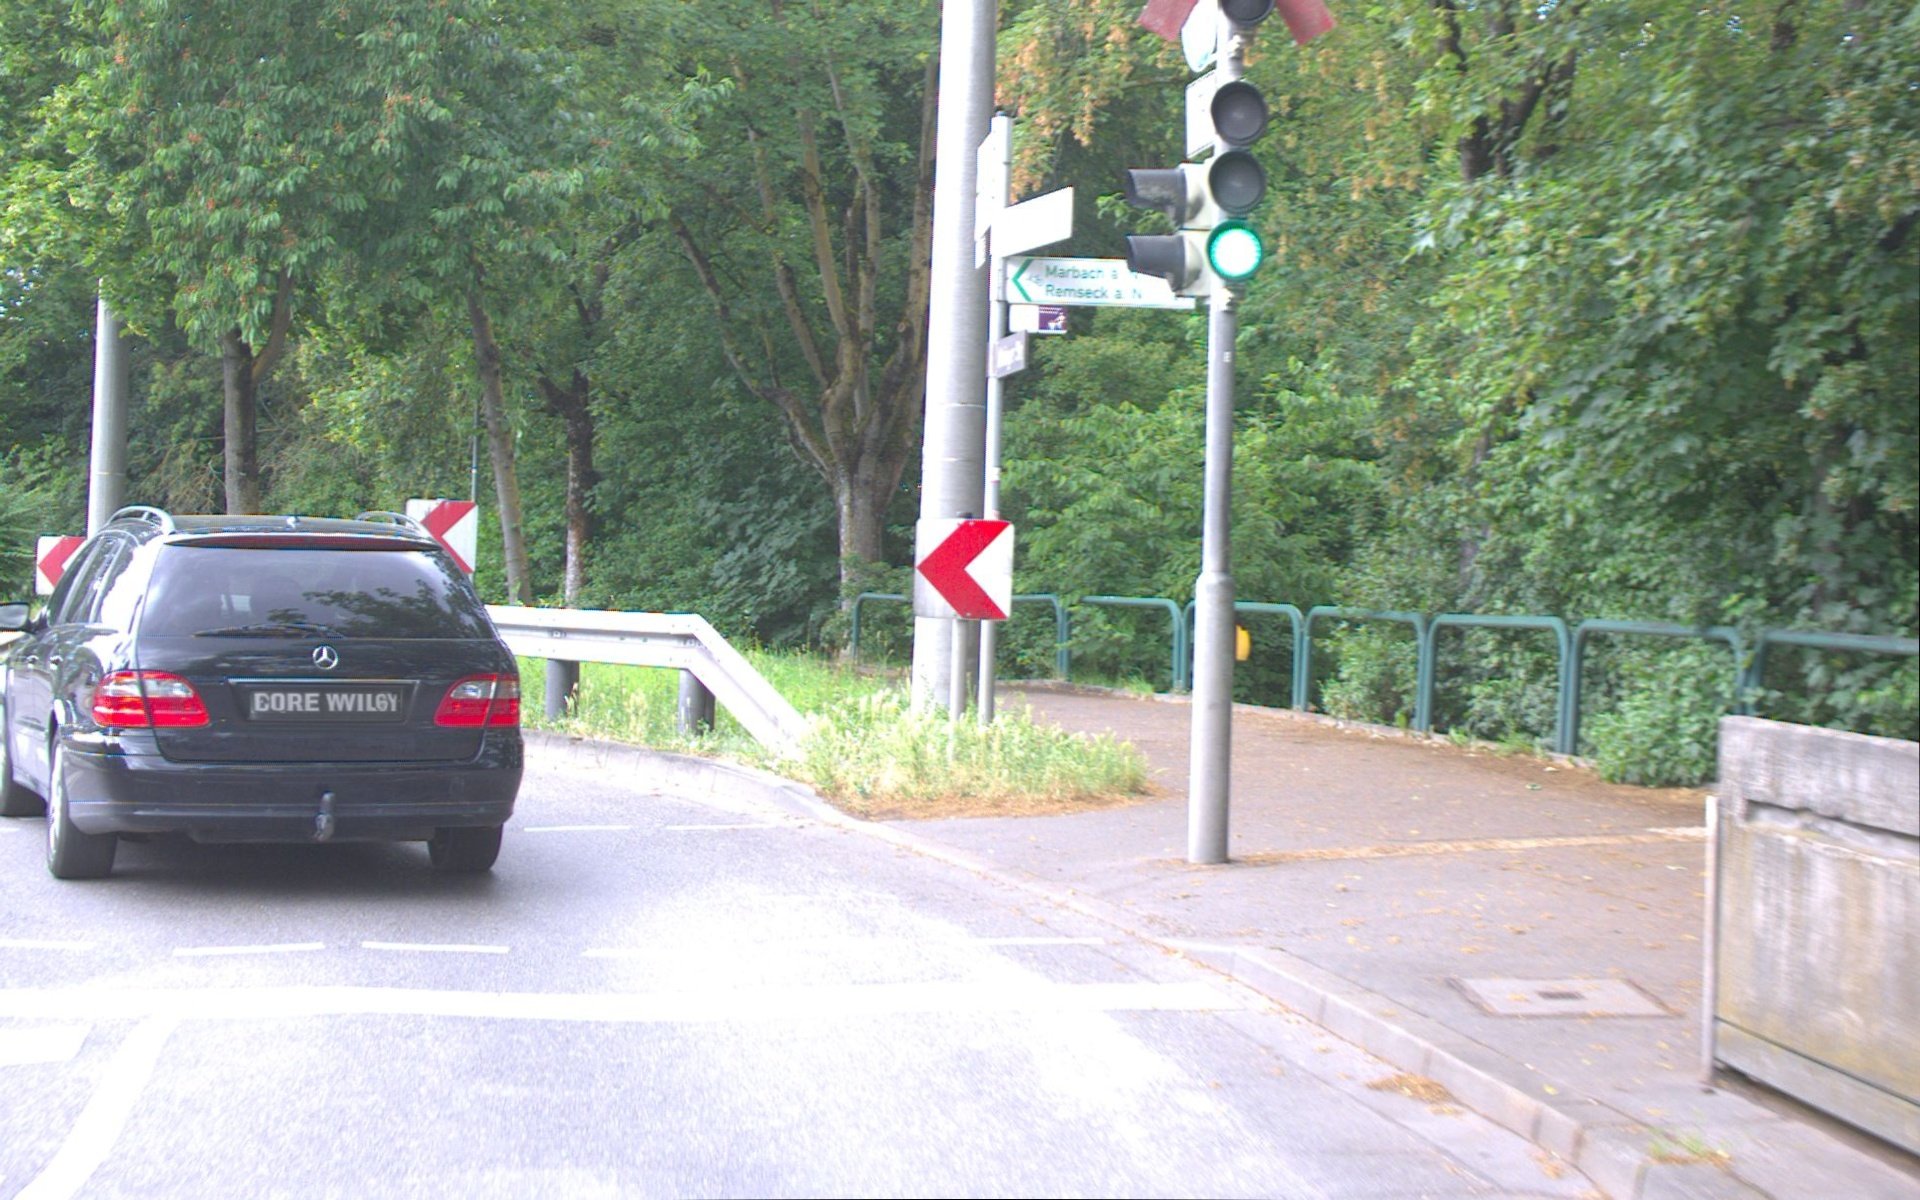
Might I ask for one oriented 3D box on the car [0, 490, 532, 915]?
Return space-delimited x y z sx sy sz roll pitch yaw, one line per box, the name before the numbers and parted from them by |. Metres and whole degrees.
car | -3.226 0.319 15.040 1.758 1.510 4.444 1 2 -19
